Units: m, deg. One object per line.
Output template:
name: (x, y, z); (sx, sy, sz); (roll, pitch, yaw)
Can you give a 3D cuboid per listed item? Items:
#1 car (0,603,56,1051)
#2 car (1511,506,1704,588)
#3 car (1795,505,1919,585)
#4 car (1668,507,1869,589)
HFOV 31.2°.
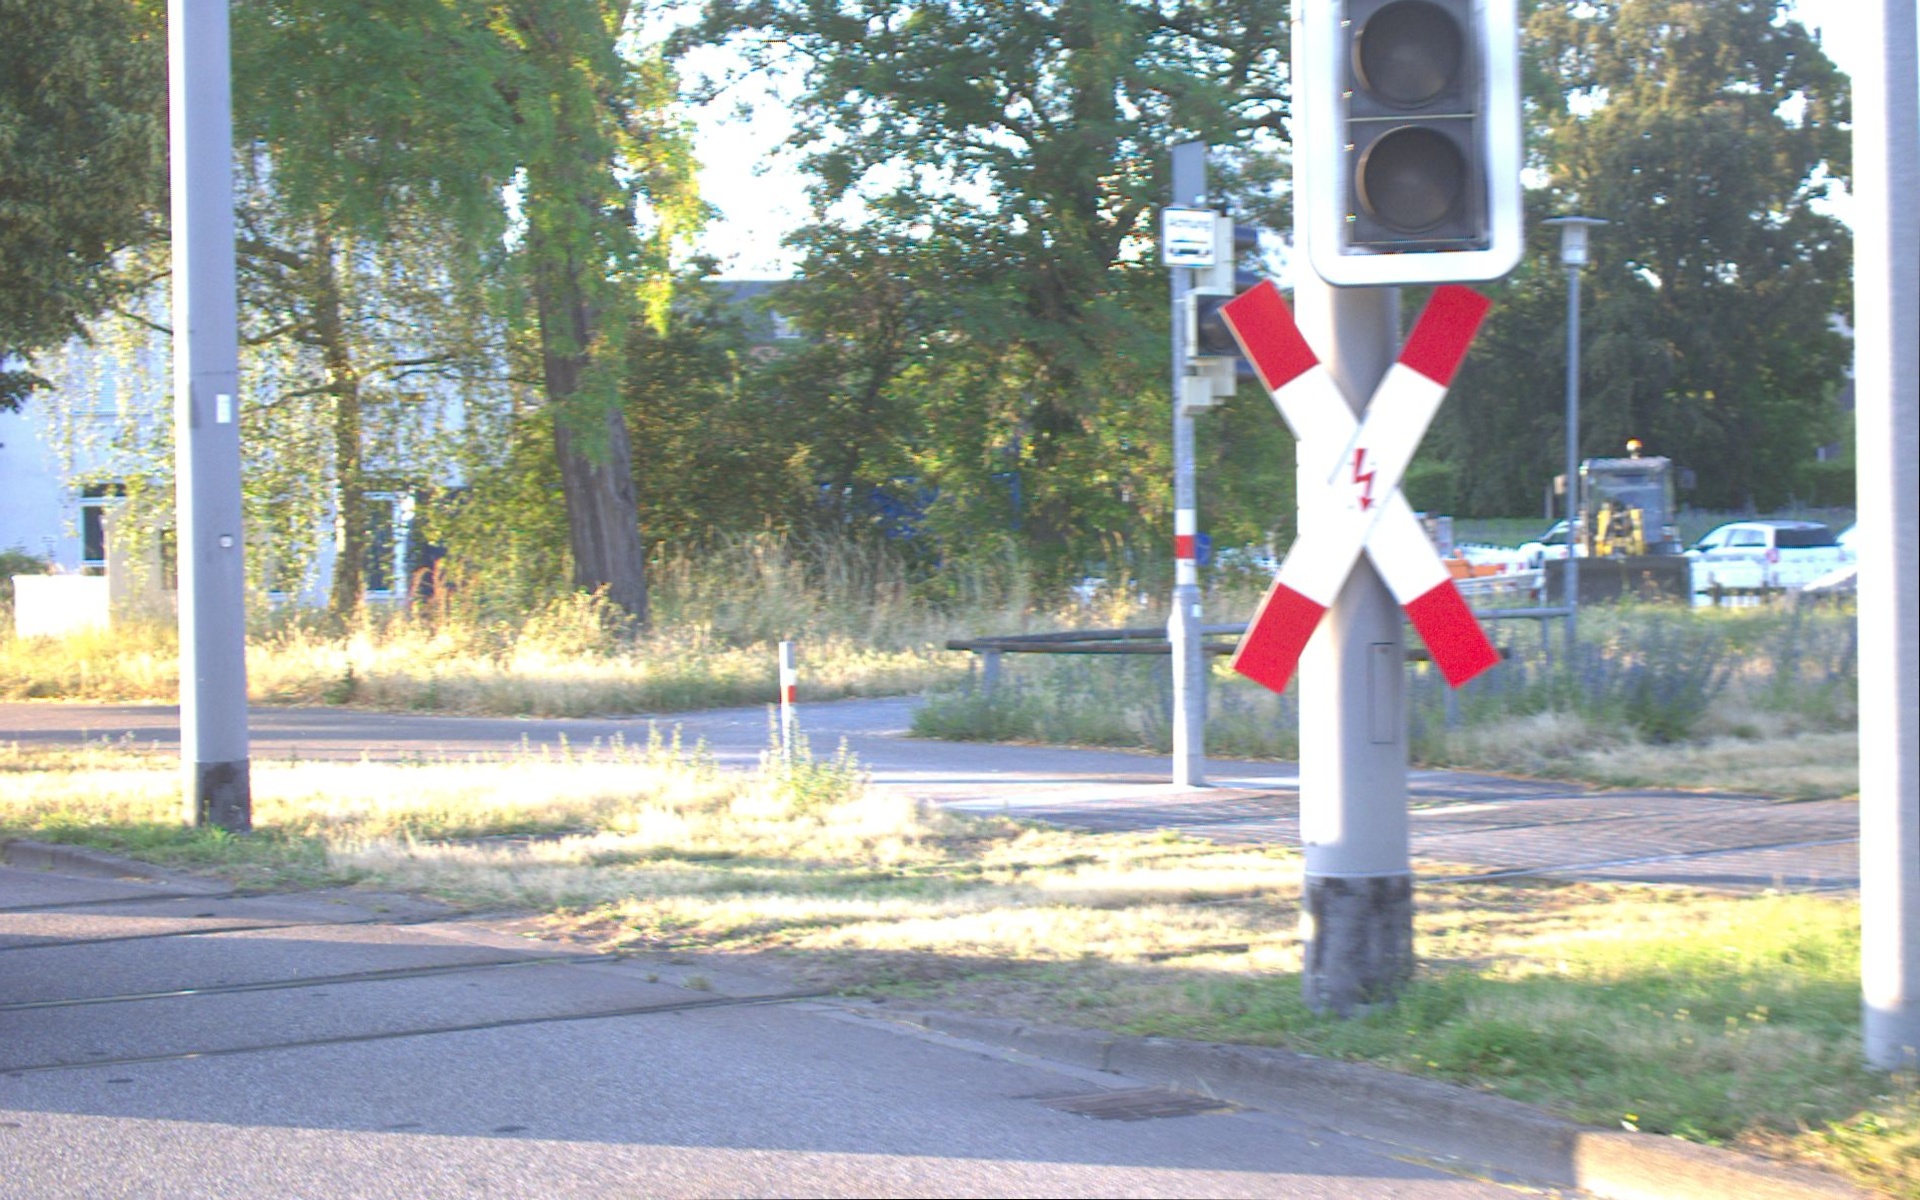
car: (-4.831, 0.666, 11.854); (1.951, 1.337, 4.670); (-1, 1, -33)
car: (12.012, -0.986, 64.045); (1.946, 1.440, 4.001); (-1, 1, -16)
car: (17.577, -1.050, 64.596); (1.946, 1.440, 4.001); (-1, 1, -16)
car: (15.090, -0.978, 64.358); (1.946, 1.440, 4.001); (-1, 1, -16)
